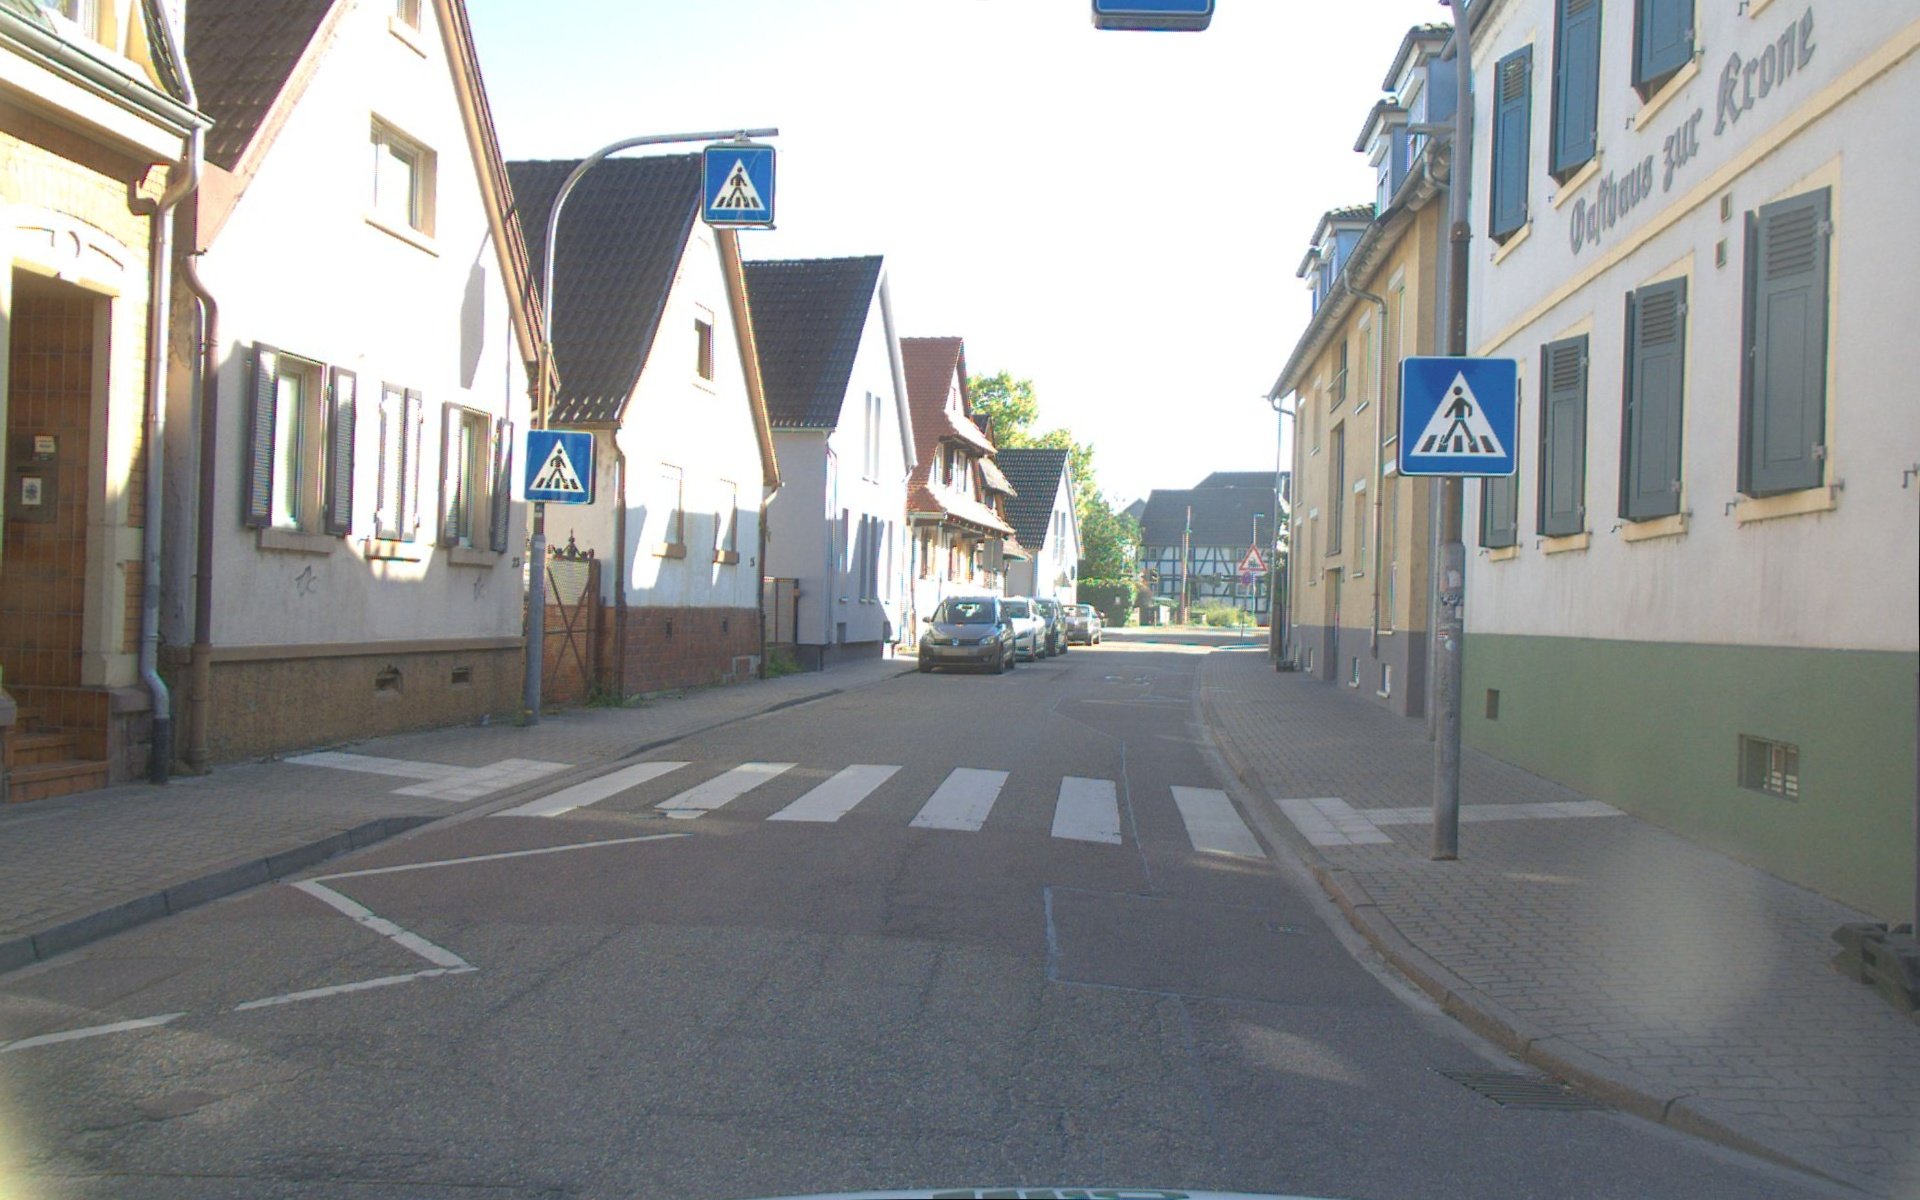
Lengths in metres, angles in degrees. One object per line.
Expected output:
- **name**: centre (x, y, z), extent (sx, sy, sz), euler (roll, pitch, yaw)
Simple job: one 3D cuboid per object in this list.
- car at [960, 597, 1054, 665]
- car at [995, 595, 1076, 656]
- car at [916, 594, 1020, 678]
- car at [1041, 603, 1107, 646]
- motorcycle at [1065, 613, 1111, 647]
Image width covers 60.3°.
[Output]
- **car**: centre (1.255, 0.780, 42.289), extent (1.777, 1.594, 4.171), euler (1, -1, 10)
- **car**: centre (2.236, 0.736, 47.858), extent (1.745, 1.633, 4.364), euler (1, 0, 10)
- **car**: centre (0.235, 0.763, 35.486), extent (1.705, 1.642, 4.003), euler (2, -1, 7)
- **car**: centre (4.102, 0.879, 58.963), extent (1.805, 1.431, 5.040), euler (0, -1, 10)
- **motorcycle**: centre (4.831, 1.136, 62.679), extent (0.619, 1.253, 1.970), euler (1, 0, -35)
